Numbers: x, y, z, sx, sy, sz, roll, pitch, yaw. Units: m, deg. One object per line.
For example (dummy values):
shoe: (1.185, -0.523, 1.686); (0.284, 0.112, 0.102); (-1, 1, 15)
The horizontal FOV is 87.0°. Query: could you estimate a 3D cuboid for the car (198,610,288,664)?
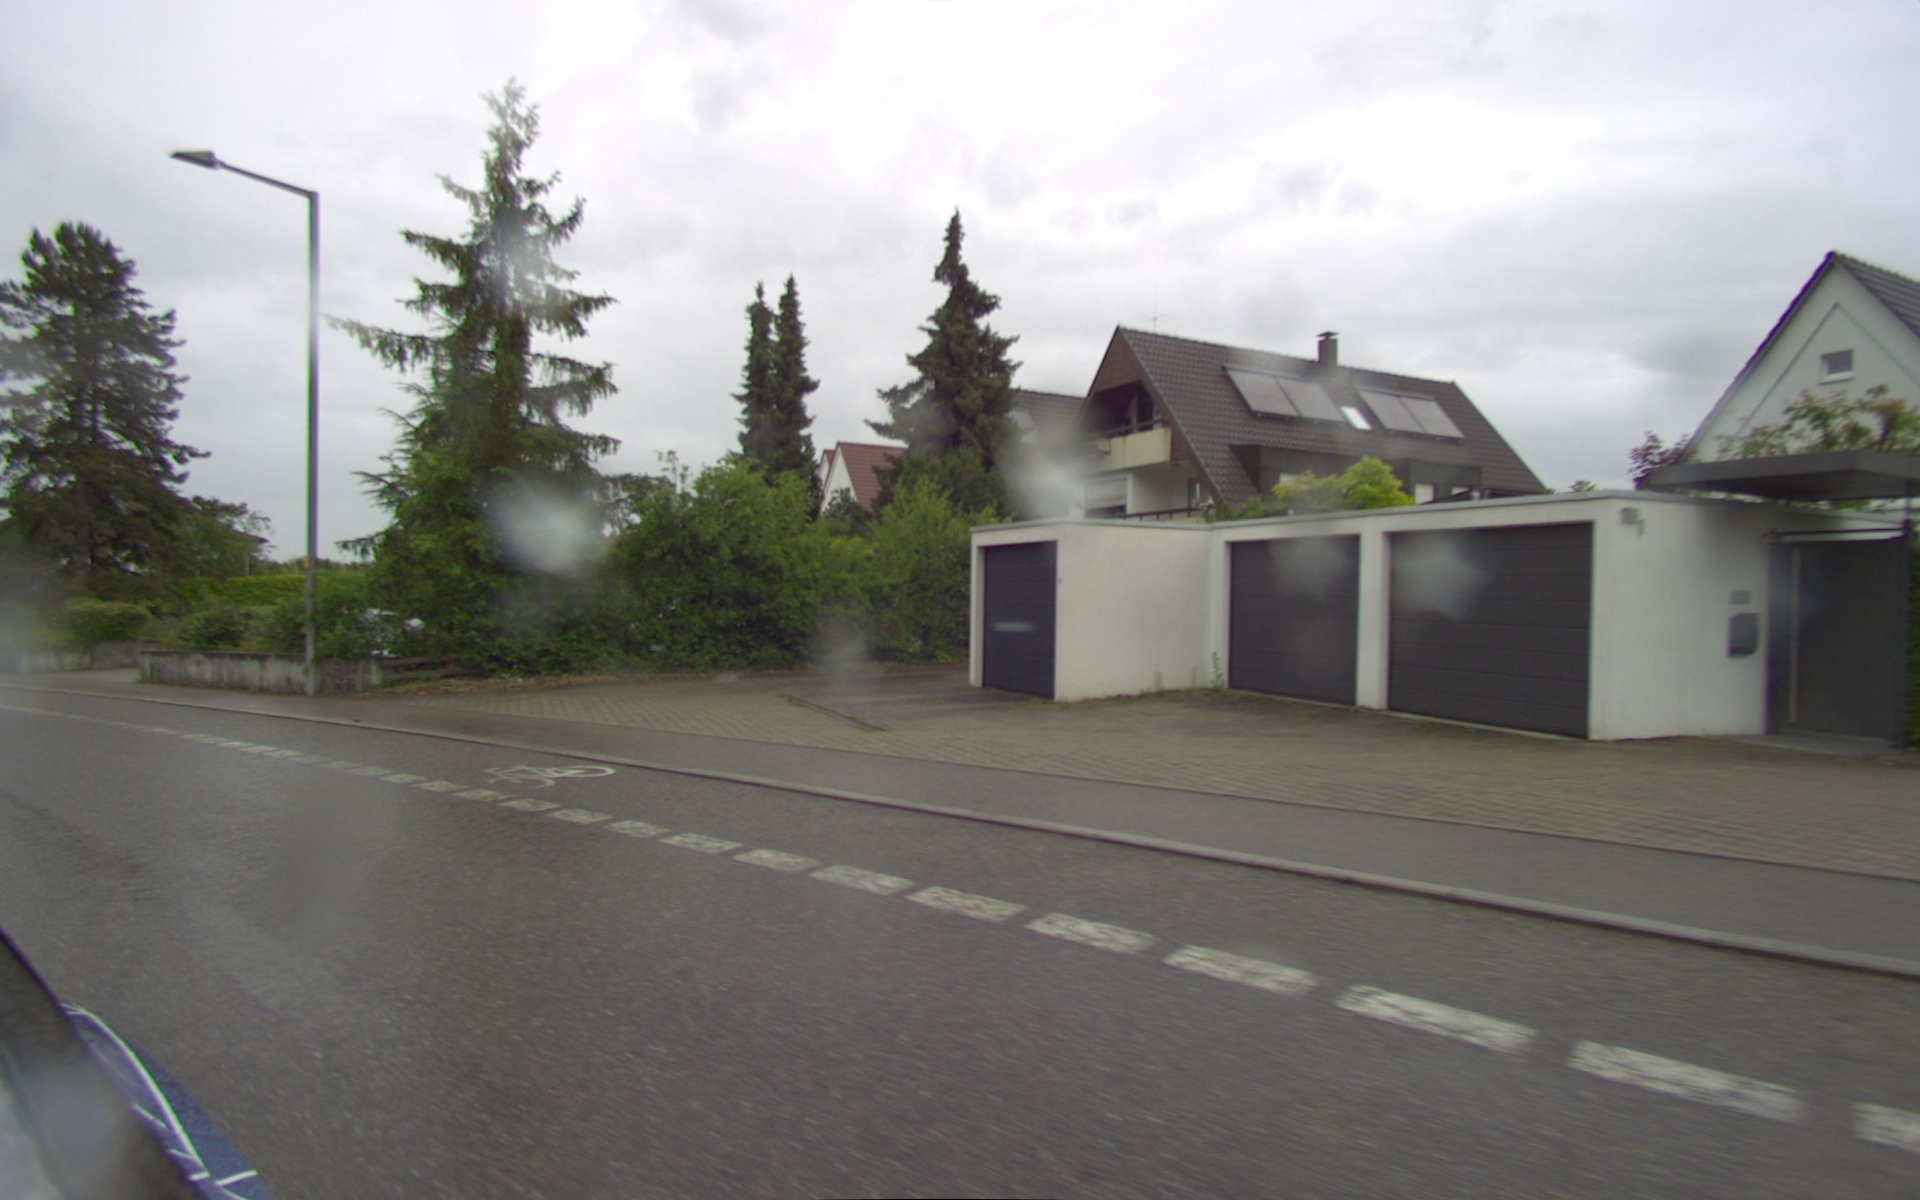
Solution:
car: (-22.934, 1.158, 32.316); (1.969, 1.586, 4.005); (0, -1, -41)
